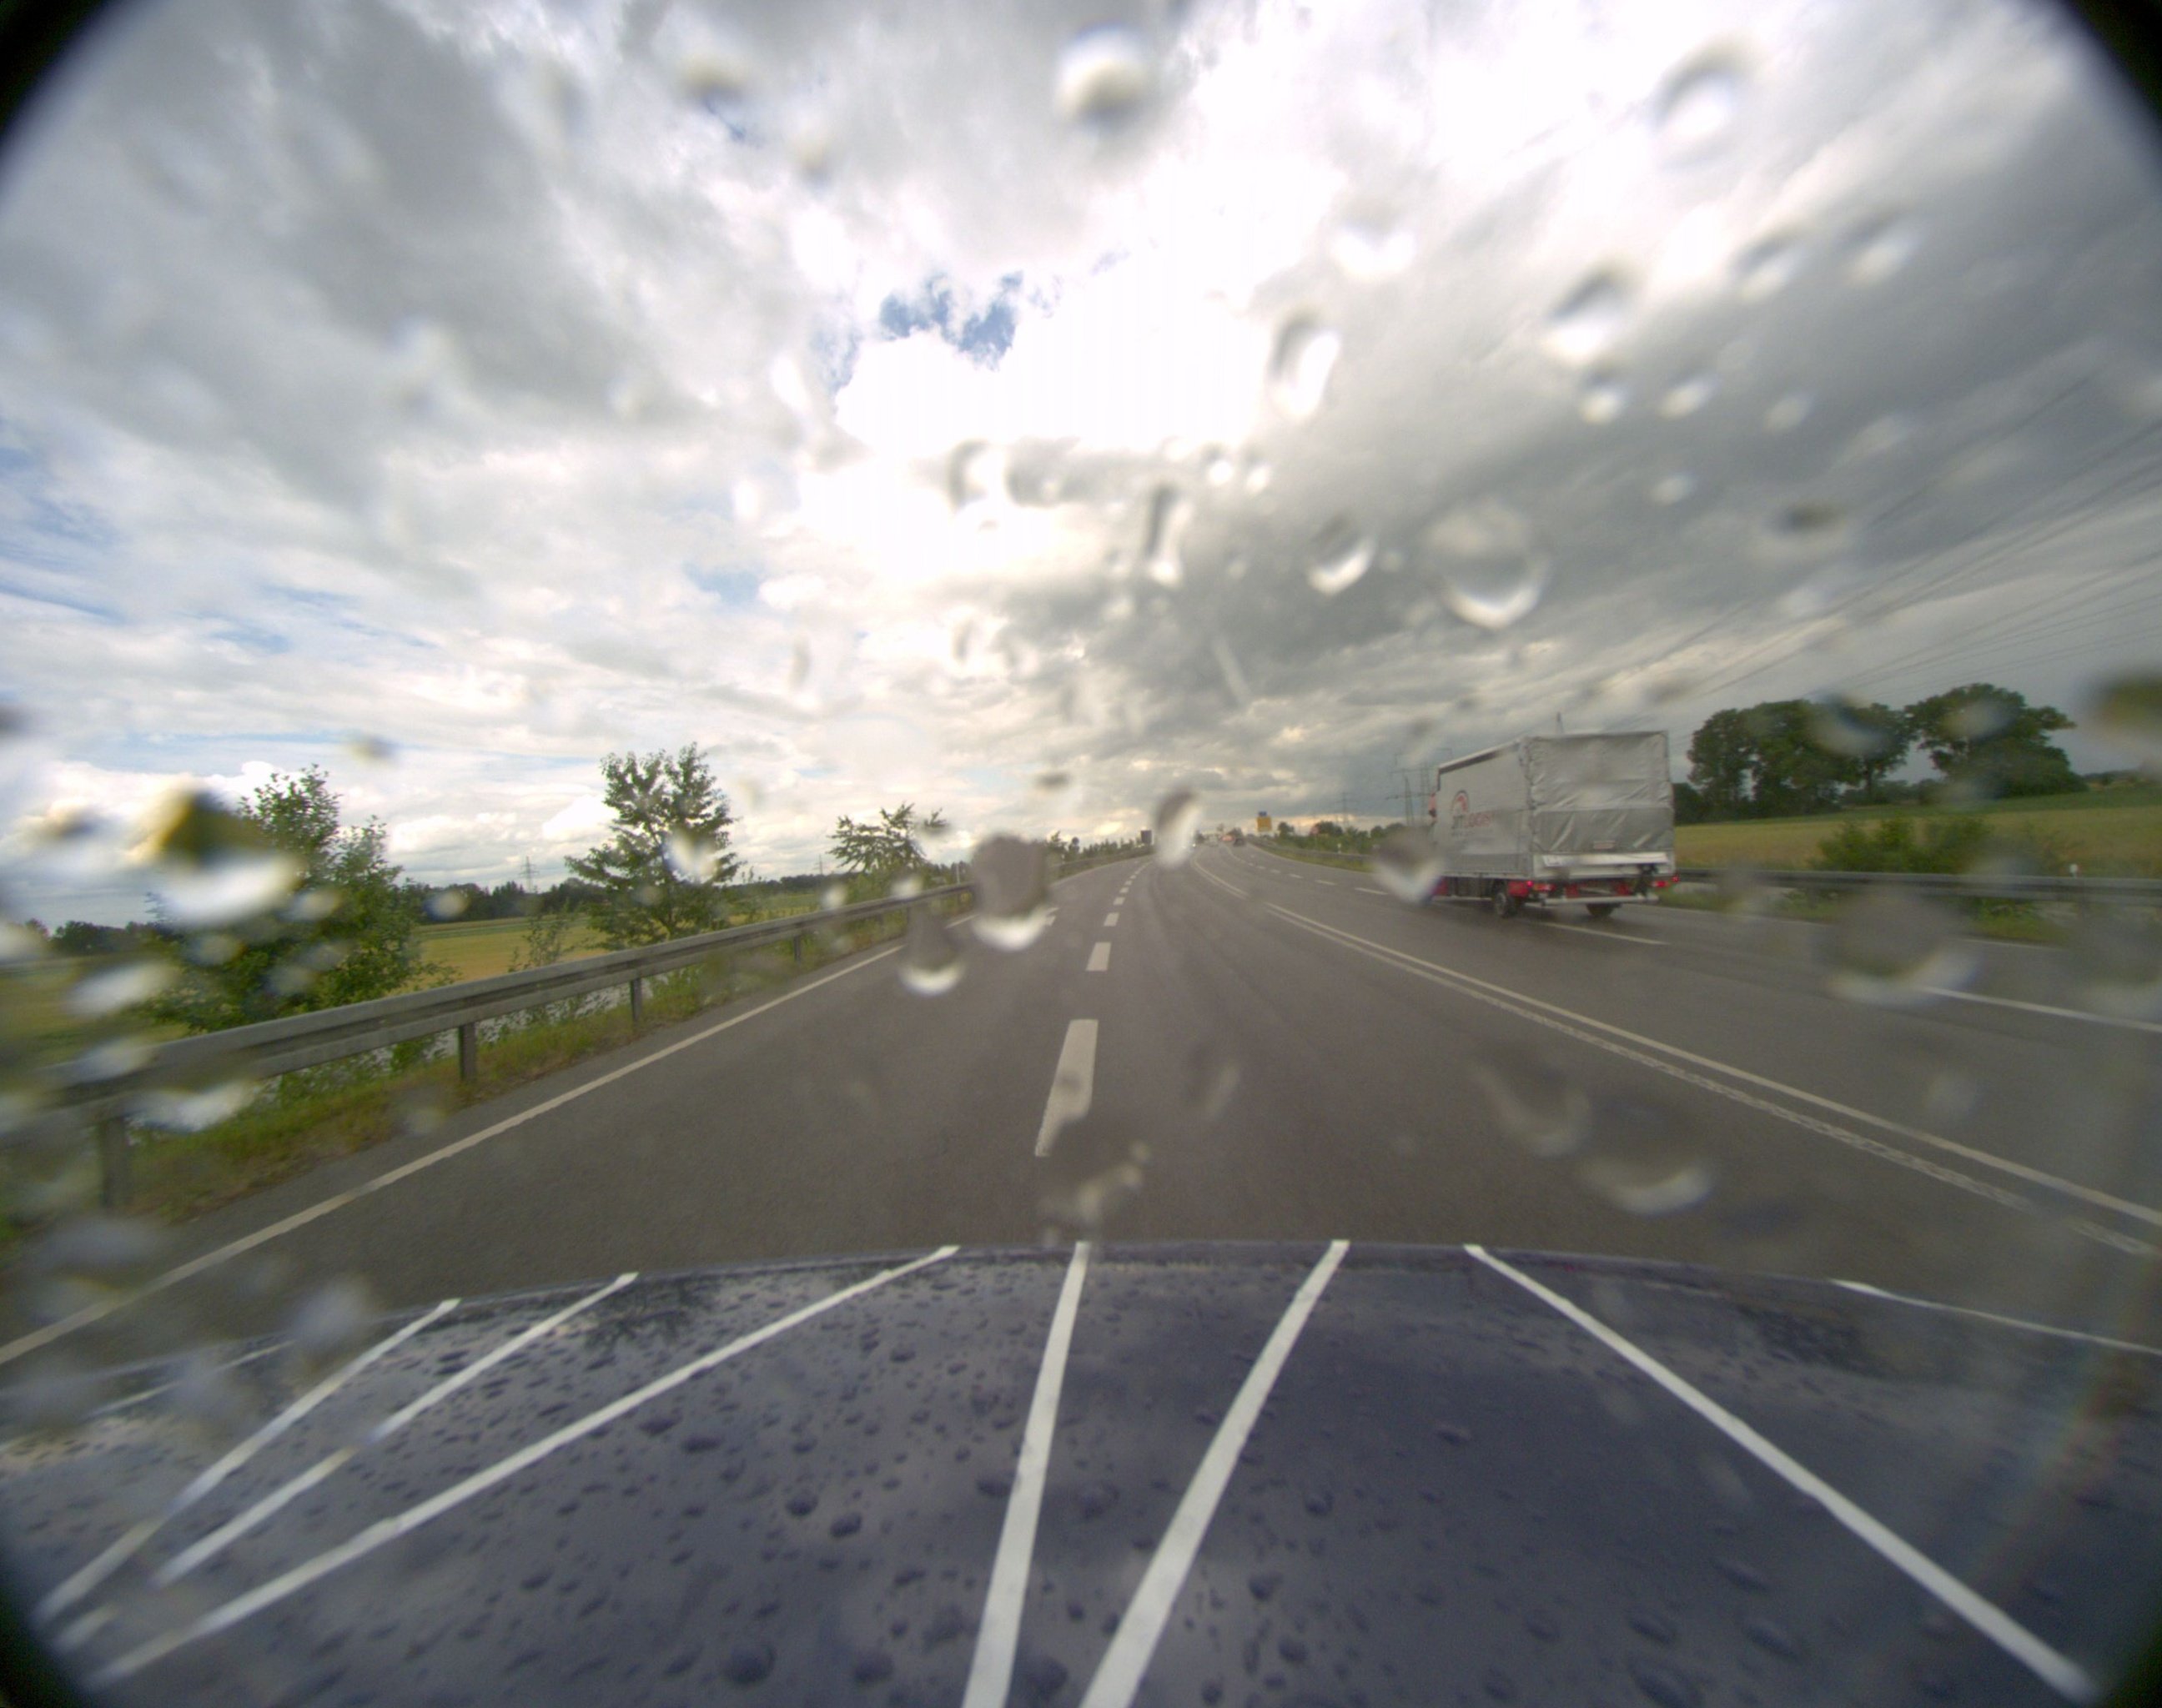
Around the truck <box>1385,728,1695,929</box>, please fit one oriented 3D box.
[{"bbox_3d":[9.058,-0.403,16.236,2.486,3.273,7.282,-1,0,3],"label":"truck"}]

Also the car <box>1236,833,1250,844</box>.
[{"bbox_3d":[23.790,-2.325,111.614,1.899,1.433,4.903,-4,1,12],"label":"car"}]

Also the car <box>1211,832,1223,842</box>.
[{"bbox_3d":[23.173,-2.838,129.305,1.792,1.656,4.373,-1,1,14],"label":"car"}]

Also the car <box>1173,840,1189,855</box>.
[{"bbox_3d":[12.552,-0.774,95.374,1.795,1.758,4.002,-4,-1,6],"label":"car"}]

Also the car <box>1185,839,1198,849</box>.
[{"bbox_3d":[19.972,-1.767,137.142,1.747,1.489,4.052,-4,2,14],"label":"car"}]

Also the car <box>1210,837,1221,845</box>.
[{"bbox_3d":[26.867,-2.632,151.796,1.769,1.491,4.214,-3,1,17],"label":"car"}]

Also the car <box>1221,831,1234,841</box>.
[{"bbox_3d":[30.784,-3.824,159.647,1.946,1.651,4.649,-6,1,19],"label":"car"}]
